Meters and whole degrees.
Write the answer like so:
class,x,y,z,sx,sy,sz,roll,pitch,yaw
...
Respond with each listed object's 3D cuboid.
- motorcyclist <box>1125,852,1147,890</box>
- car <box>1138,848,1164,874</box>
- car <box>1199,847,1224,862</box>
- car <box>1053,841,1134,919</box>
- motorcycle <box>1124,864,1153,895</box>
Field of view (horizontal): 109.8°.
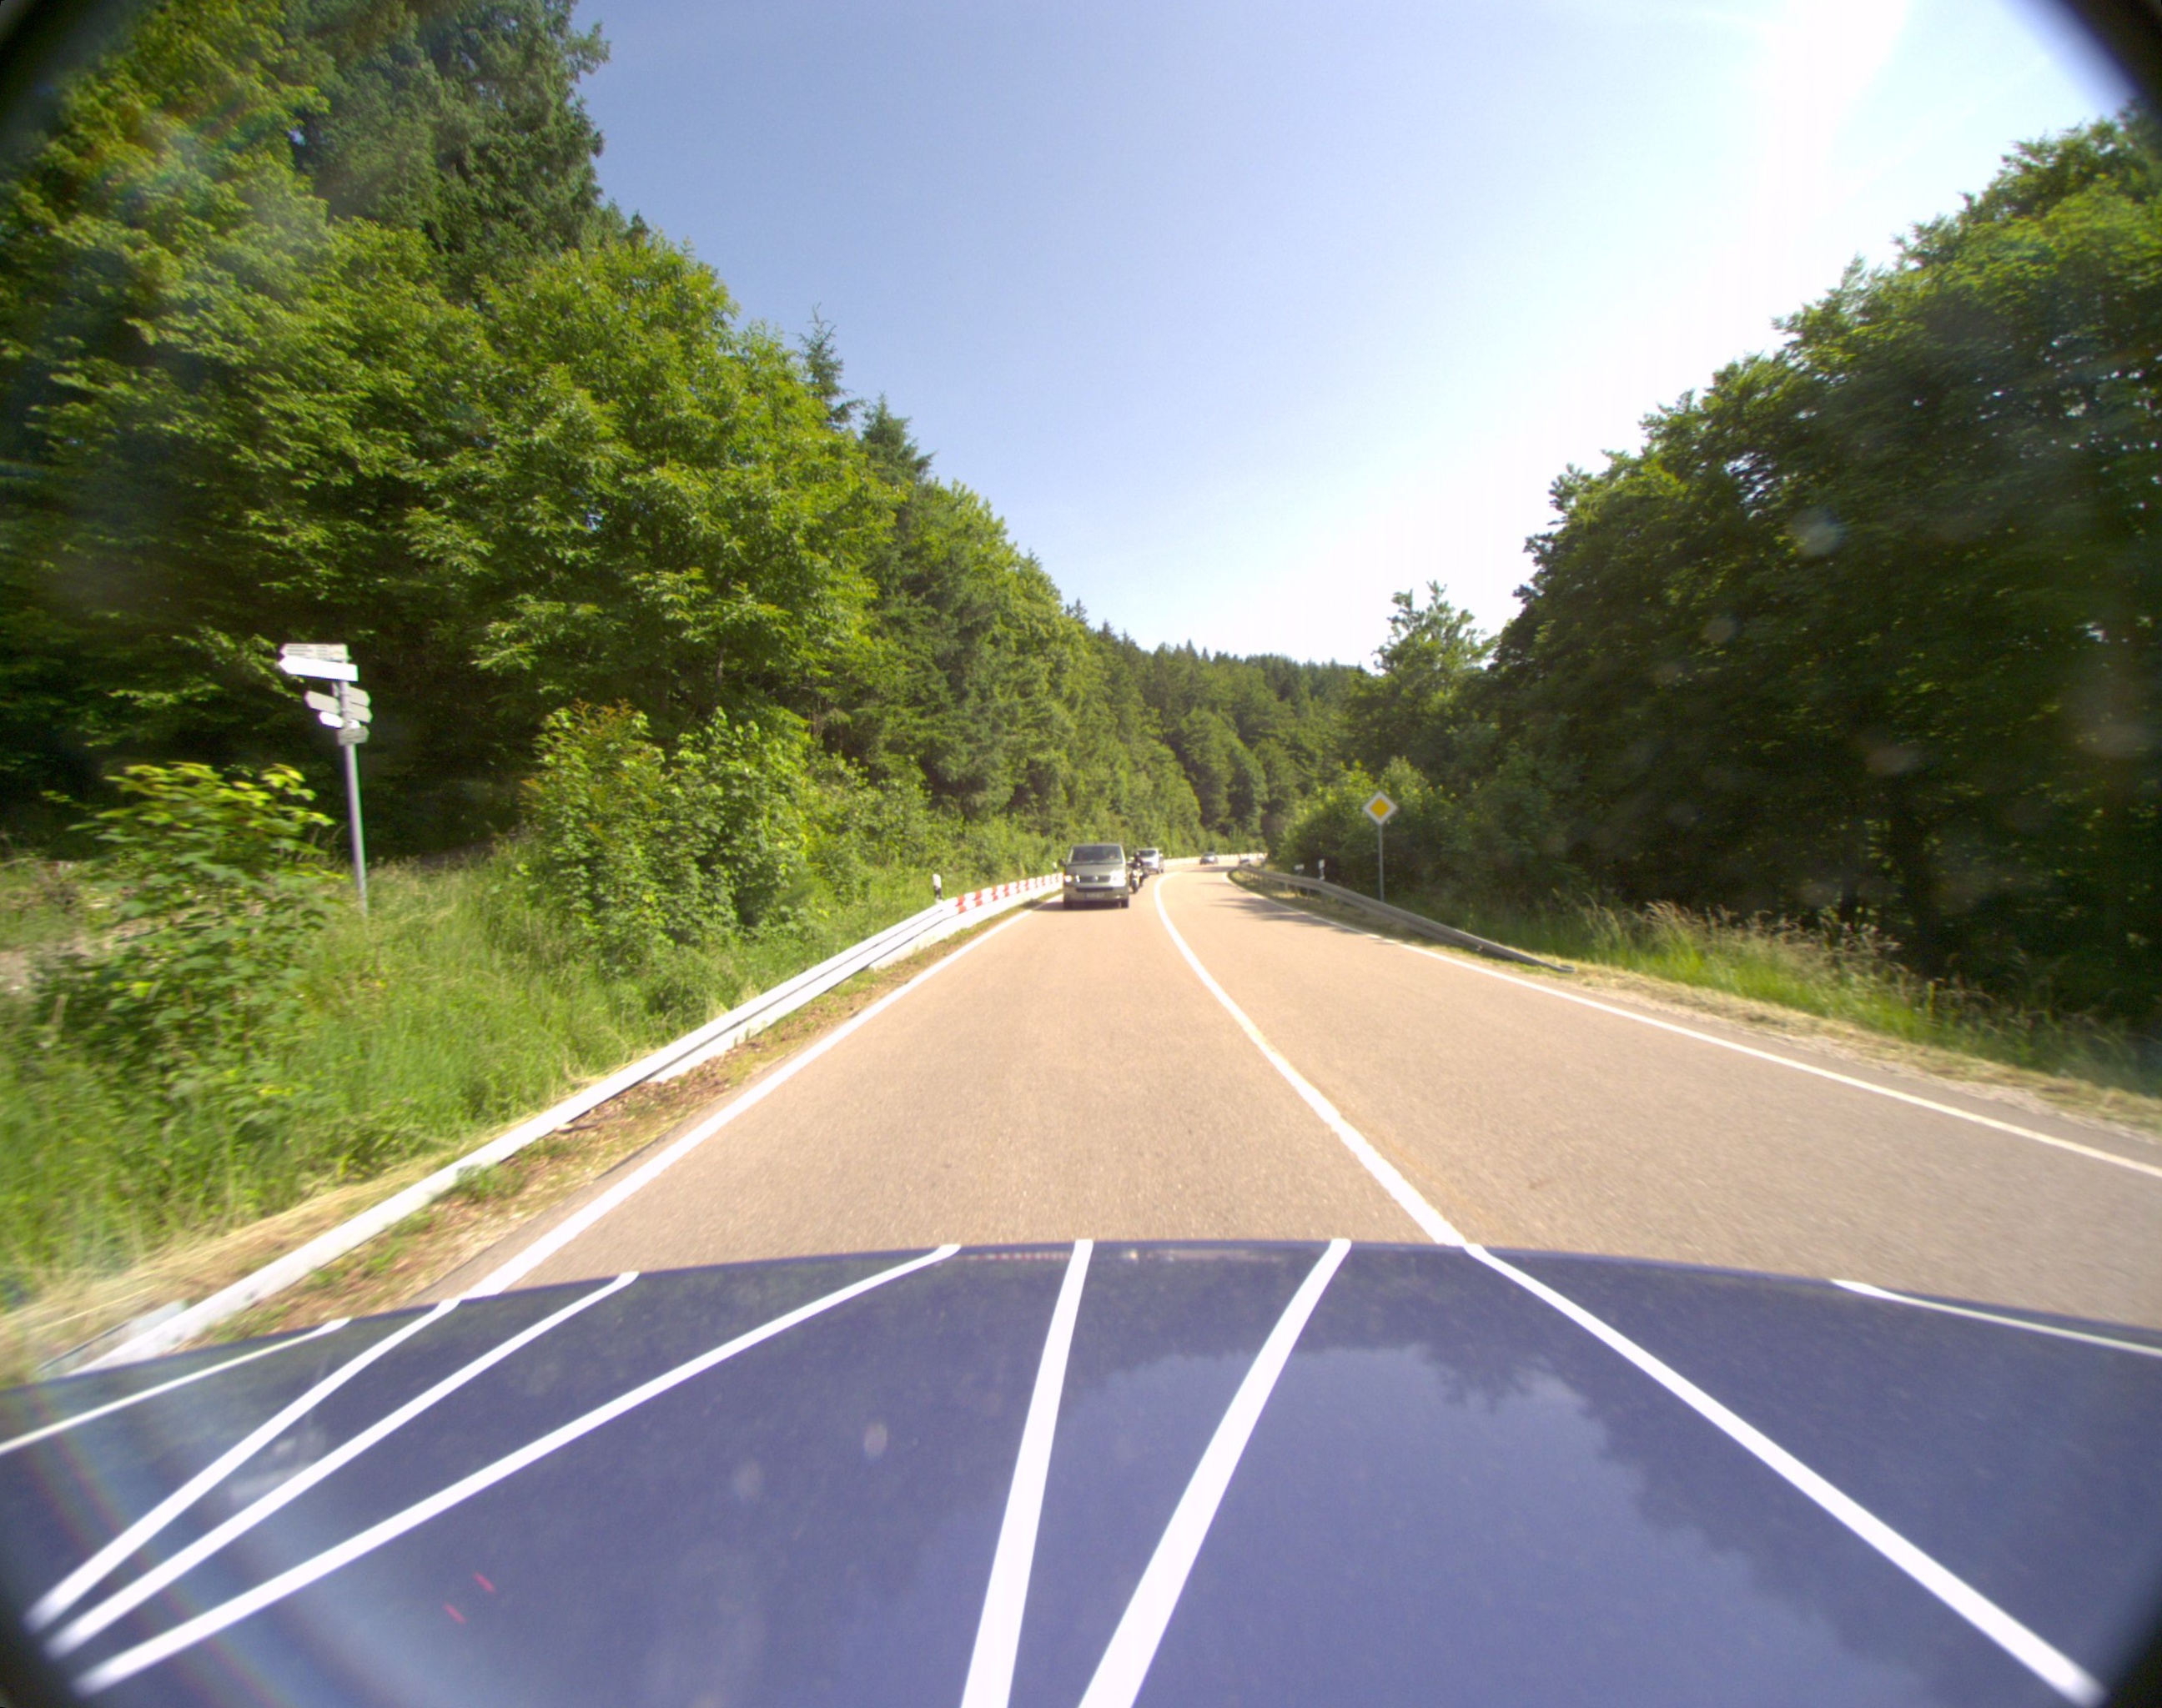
class,x,y,z,sx,sy,sz,roll,pitch,yaw
motorcyclist,2.181,0.654,30.103,0.716,1.421,0.999,-4,0,6
car,5.186,0.492,55.824,1.652,1.749,3.796,-1,0,8
car,15.275,0.017,88.916,1.996,1.633,4.006,-3,0,22
car,0.474,0.650,22.054,2.029,1.940,4.900,-2,0,3
motorcycle,2.271,0.994,30.159,1.109,1.117,1.961,-1,0,3
